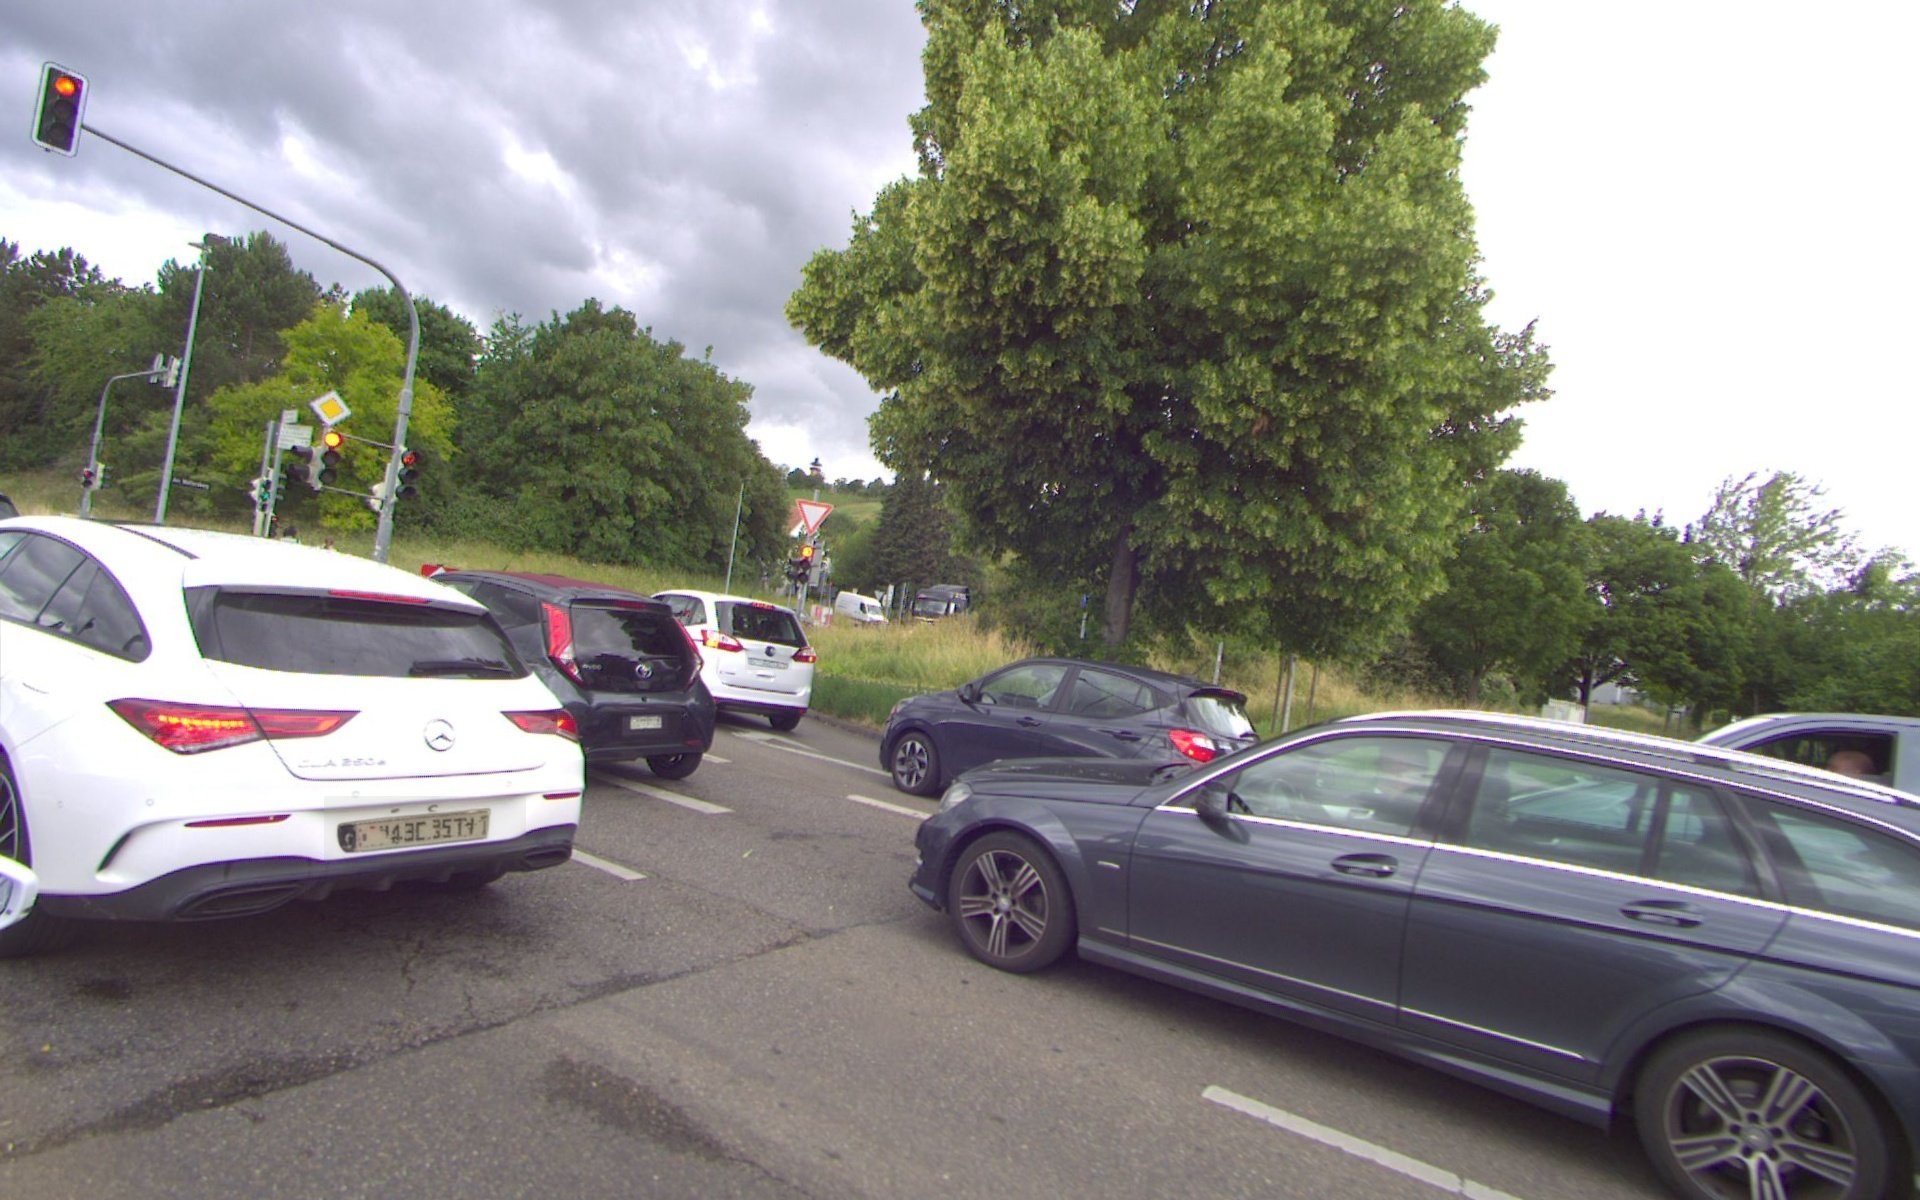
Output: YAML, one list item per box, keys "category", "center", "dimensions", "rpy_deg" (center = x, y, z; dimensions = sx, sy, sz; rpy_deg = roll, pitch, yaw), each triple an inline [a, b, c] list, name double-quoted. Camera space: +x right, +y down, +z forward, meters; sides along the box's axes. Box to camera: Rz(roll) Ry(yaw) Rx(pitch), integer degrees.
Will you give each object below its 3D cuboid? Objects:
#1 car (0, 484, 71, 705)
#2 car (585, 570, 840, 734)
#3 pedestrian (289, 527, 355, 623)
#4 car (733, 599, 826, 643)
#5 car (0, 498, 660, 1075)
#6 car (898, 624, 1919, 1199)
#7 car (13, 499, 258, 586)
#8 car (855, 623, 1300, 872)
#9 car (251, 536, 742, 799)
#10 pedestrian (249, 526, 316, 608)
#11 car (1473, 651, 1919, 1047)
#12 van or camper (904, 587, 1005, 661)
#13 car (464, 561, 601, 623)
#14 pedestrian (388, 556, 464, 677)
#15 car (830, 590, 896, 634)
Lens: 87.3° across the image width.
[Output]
- category: "car"
  center: [-7.957, -0.206, 7.242]
  dimensions: [2.626, 1.522, 1.538]
  rpy_deg: [7, -1, 32]
- category: "car"
  center: [-3.595, 0.638, 14.056]
  dimensions: [1.696, 1.656, 4.199]
  rpy_deg: [11, -3, -38]
- category: "pedestrian"
  center: [-11.873, -0.471, 18.722]
  dimensions: [0.605, 1.650, 0.612]
  rpy_deg: [8, -4, 40]
- category: "car"
  center: [-8.274, 0.987, 46.370]
  dimensions: [1.662, 1.465, 3.988]
  rpy_deg: [6, -2, 38]
- category: "car"
  center: [-3.552, 0.380, 4.489]
  dimensions: [4.284, 1.438, 1.724]
  rpy_deg: [7, -1, 32]
- category: "car"
  center: [2.003, 1.154, 4.434]
  dimensions: [4.144, 1.452, 1.828]
  rpy_deg: [8, -1, 33]
- category: "car"
  center: [-21.534, -1.464, 26.472]
  dimensions: [1.967, 1.478, 4.498]
  rpy_deg: [7, -2, 33]
- category: "car"
  center: [0.950, 1.228, 9.096]
  dimensions: [3.588, 1.451, 1.516]
  rpy_deg: [7, -5, 39]
- category: "car"
  center: [-3.827, 0.439, 8.117]
  dimensions: [3.933, 1.420, 1.548]
  rpy_deg: [7, -1, 31]
- category: "pedestrian"
  center: [-14.202, -0.677, 21.110]
  dimensions: [0.509, 1.579, 0.866]
  rpy_deg: [8, 0, 27]
- category: "car"
  center: [5.746, 1.557, 6.038]
  dimensions: [4.432, 1.825, 1.828]
  rpy_deg: [7, -1, 33]
- category: "van or camper"
  center: [-0.199, 1.520, 59.713]
  dimensions: [2.704, 3.621, 7.271]
  rpy_deg: [6, -2, 26]
- category: "car"
  center: [-15.095, -0.245, 35.698]
  dimensions: [1.809, 1.620, 3.992]
  rpy_deg: [7, -2, 34]
- category: "pedestrian"
  center: [-6.870, 0.221, 12.948]
  dimensions: [0.349, 1.470, 0.610]
  rpy_deg: [7, -1, 40]
- category: "car"
  center: [-8.023, 0.952, 82.717]
  dimensions: [2.173, 2.570, 5.703]
  rpy_deg: [9, 1, -42]
